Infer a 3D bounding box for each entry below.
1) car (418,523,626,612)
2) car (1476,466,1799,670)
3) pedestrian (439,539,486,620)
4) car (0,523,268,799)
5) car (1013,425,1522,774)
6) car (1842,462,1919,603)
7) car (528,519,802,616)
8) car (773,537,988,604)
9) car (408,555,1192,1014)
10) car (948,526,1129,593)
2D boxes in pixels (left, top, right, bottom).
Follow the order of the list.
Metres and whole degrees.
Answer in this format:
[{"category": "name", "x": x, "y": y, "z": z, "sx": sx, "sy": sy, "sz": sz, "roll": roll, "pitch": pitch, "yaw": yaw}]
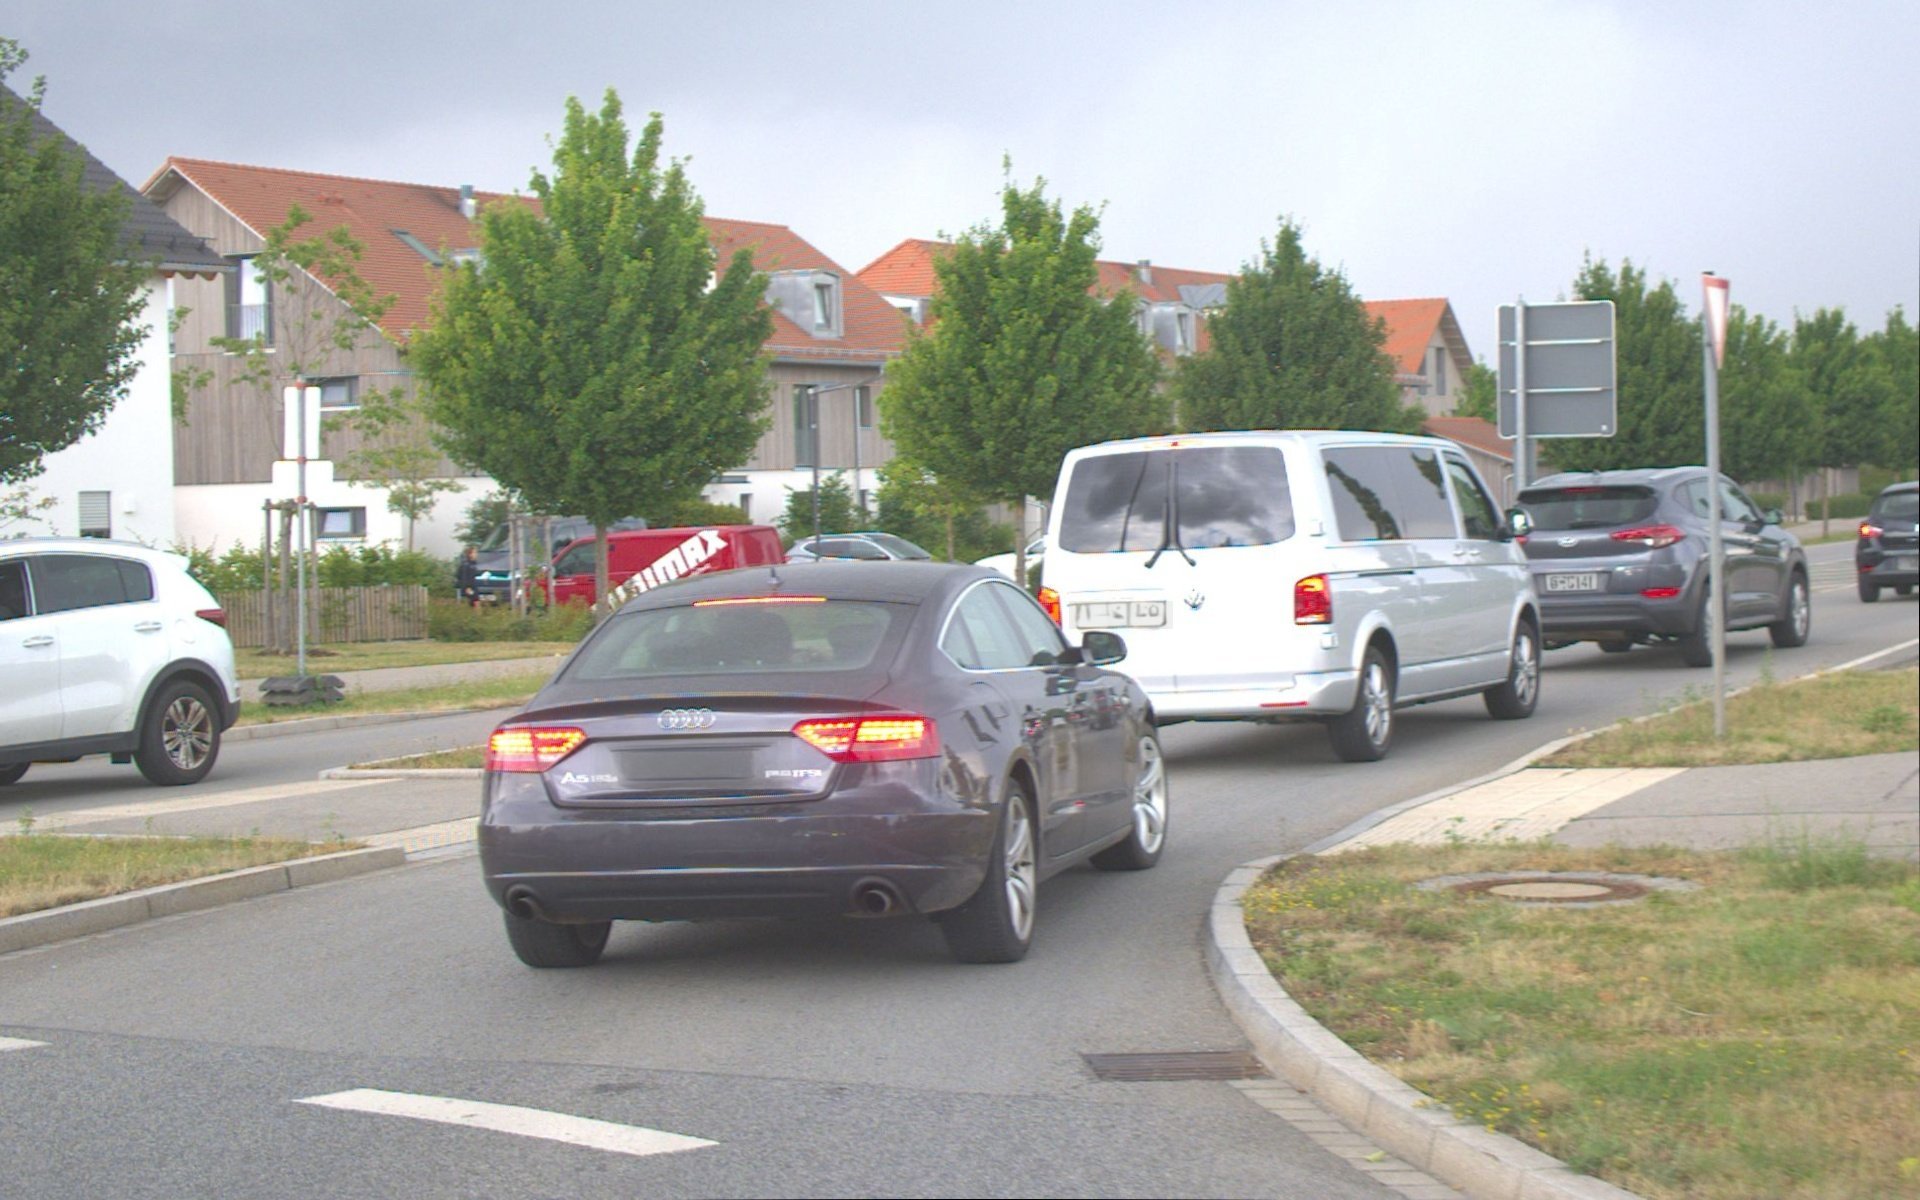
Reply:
[{"category": "car", "x": -9.073, "y": -0.689, "z": 71.566, "sx": 1.997, "sy": 1.766, "sz": 4.458, "roll": 0, "pitch": 1, "yaw": 30}, {"category": "car", "x": 5.843, "y": -0.299, "z": 29.306, "sx": 1.779, "sy": 1.612, "sz": 3.995, "roll": 0, "pitch": 1, "yaw": 25}, {"category": "pedestrian", "x": -9.668, "y": -0.405, "z": 66.791, "sx": 0.659, "sy": 1.553, "sz": 0.582, "roll": 0, "pitch": 2, "yaw": 27}, {"category": "car", "x": -6.495, "y": 0.408, "z": 21.521, "sx": 1.711, "sy": 1.620, "sz": 4.444, "roll": -1, "pitch": 2, "yaw": 29}, {"category": "car", "x": 2.003, "y": -0.050, "z": 21.196, "sx": 1.870, "sy": 1.927, "sz": 3.995, "roll": 0, "pitch": 1, "yaw": 25}, {"category": "car", "x": 11.955, "y": -0.842, "z": 41.583, "sx": 1.779, "sy": 1.612, "sz": 3.995, "roll": -1, "pitch": 1, "yaw": 25}, {"category": "car", "x": -5.288, "y": -0.593, "z": 61.586, "sx": 4.537, "sy": 1.674, "sz": 1.997, "roll": 0, "pitch": 1, "yaw": 28}, {"category": "car", "x": -1.599, "y": -0.603, "z": 69.306, "sx": 3.919, "sy": 1.310, "sz": 1.840, "roll": 0, "pitch": 1, "yaw": 23}, {"category": "car", "x": -0.400, "y": 0.554, "z": 12.928, "sx": 1.785, "sy": 1.387, "sz": 4.130, "roll": 0, "pitch": 1, "yaw": 15}, {"category": "car", "x": 1.788, "y": -0.919, "z": 78.129, "sx": 3.733, "sy": 1.477, "sz": 1.685, "roll": 0, "pitch": 2, "yaw": 22}]
